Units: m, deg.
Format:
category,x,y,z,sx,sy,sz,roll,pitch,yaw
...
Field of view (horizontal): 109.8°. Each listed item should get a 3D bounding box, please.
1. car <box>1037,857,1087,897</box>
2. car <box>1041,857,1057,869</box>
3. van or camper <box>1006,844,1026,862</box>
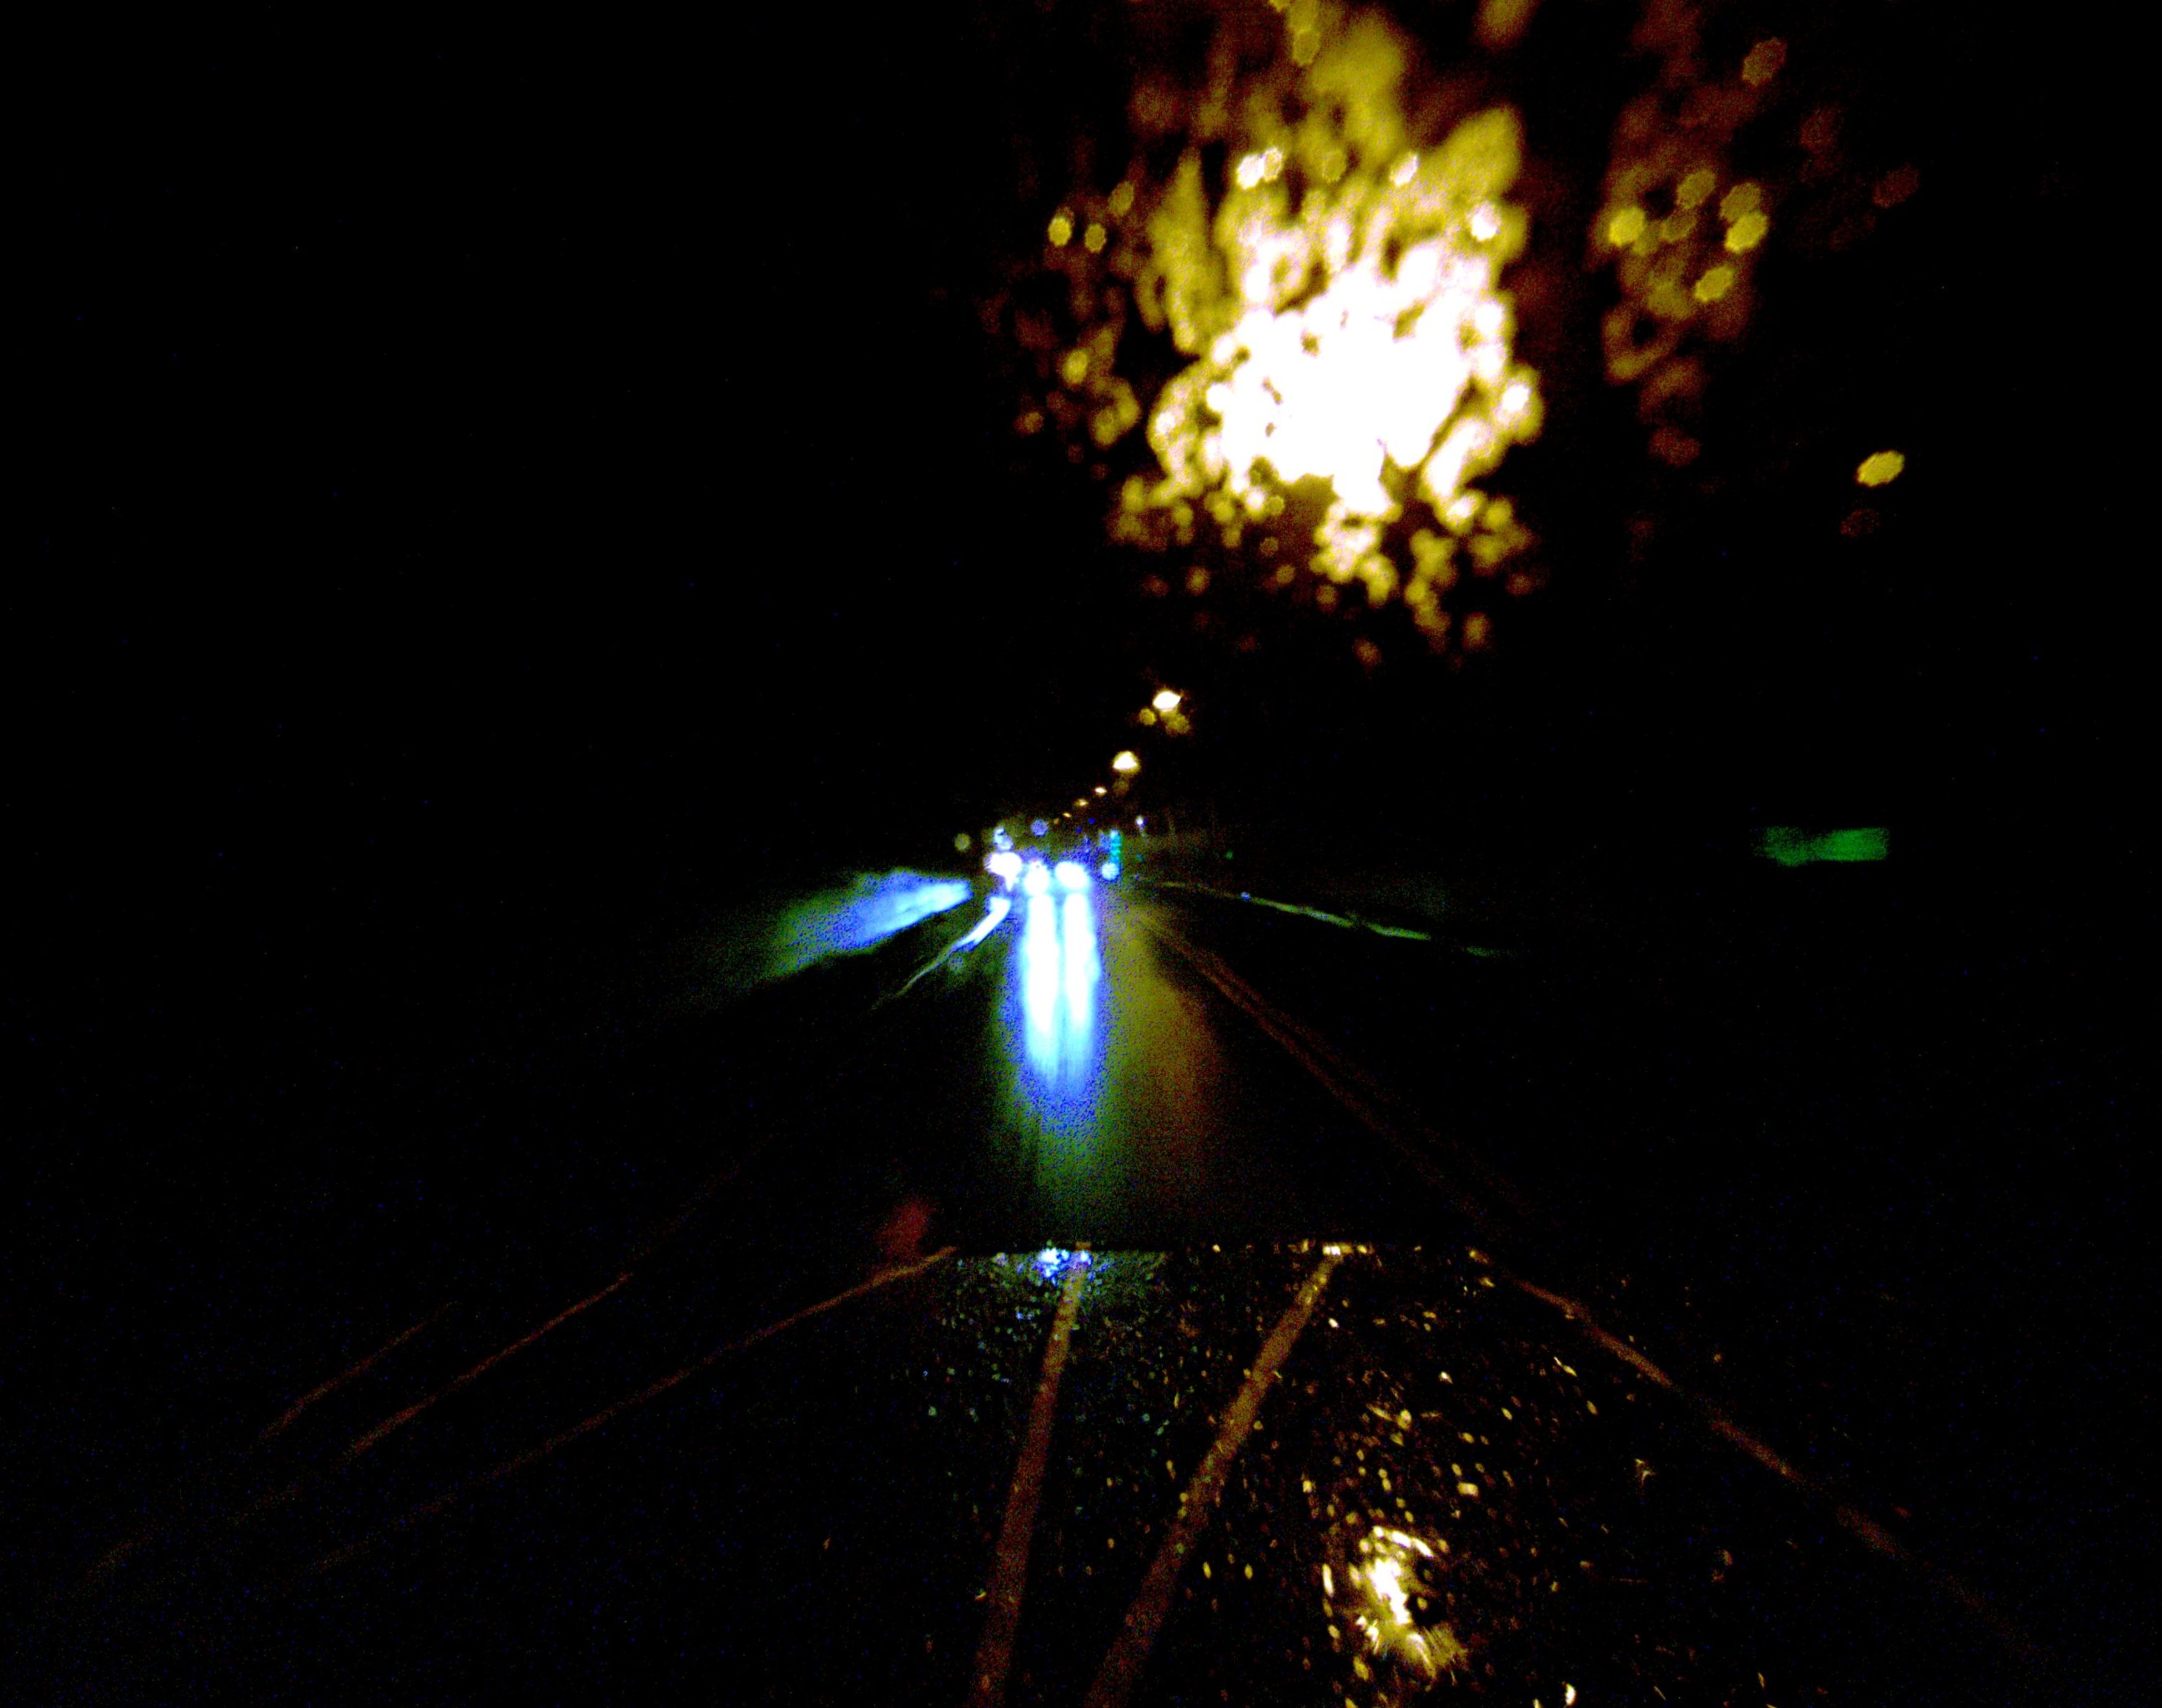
category,x,y,z,sx,sy,sz,roll,pitch,yaw
car,-0.888,0.928,32.800,1.999,1.546,3.998,-1,1,-4
car,-4.113,1.148,96.890,1.839,1.375,4.644,-1,0,-4
van or camper,-10.636,-0.211,123.911,2.422,2.866,6.671,-1,0,-12
